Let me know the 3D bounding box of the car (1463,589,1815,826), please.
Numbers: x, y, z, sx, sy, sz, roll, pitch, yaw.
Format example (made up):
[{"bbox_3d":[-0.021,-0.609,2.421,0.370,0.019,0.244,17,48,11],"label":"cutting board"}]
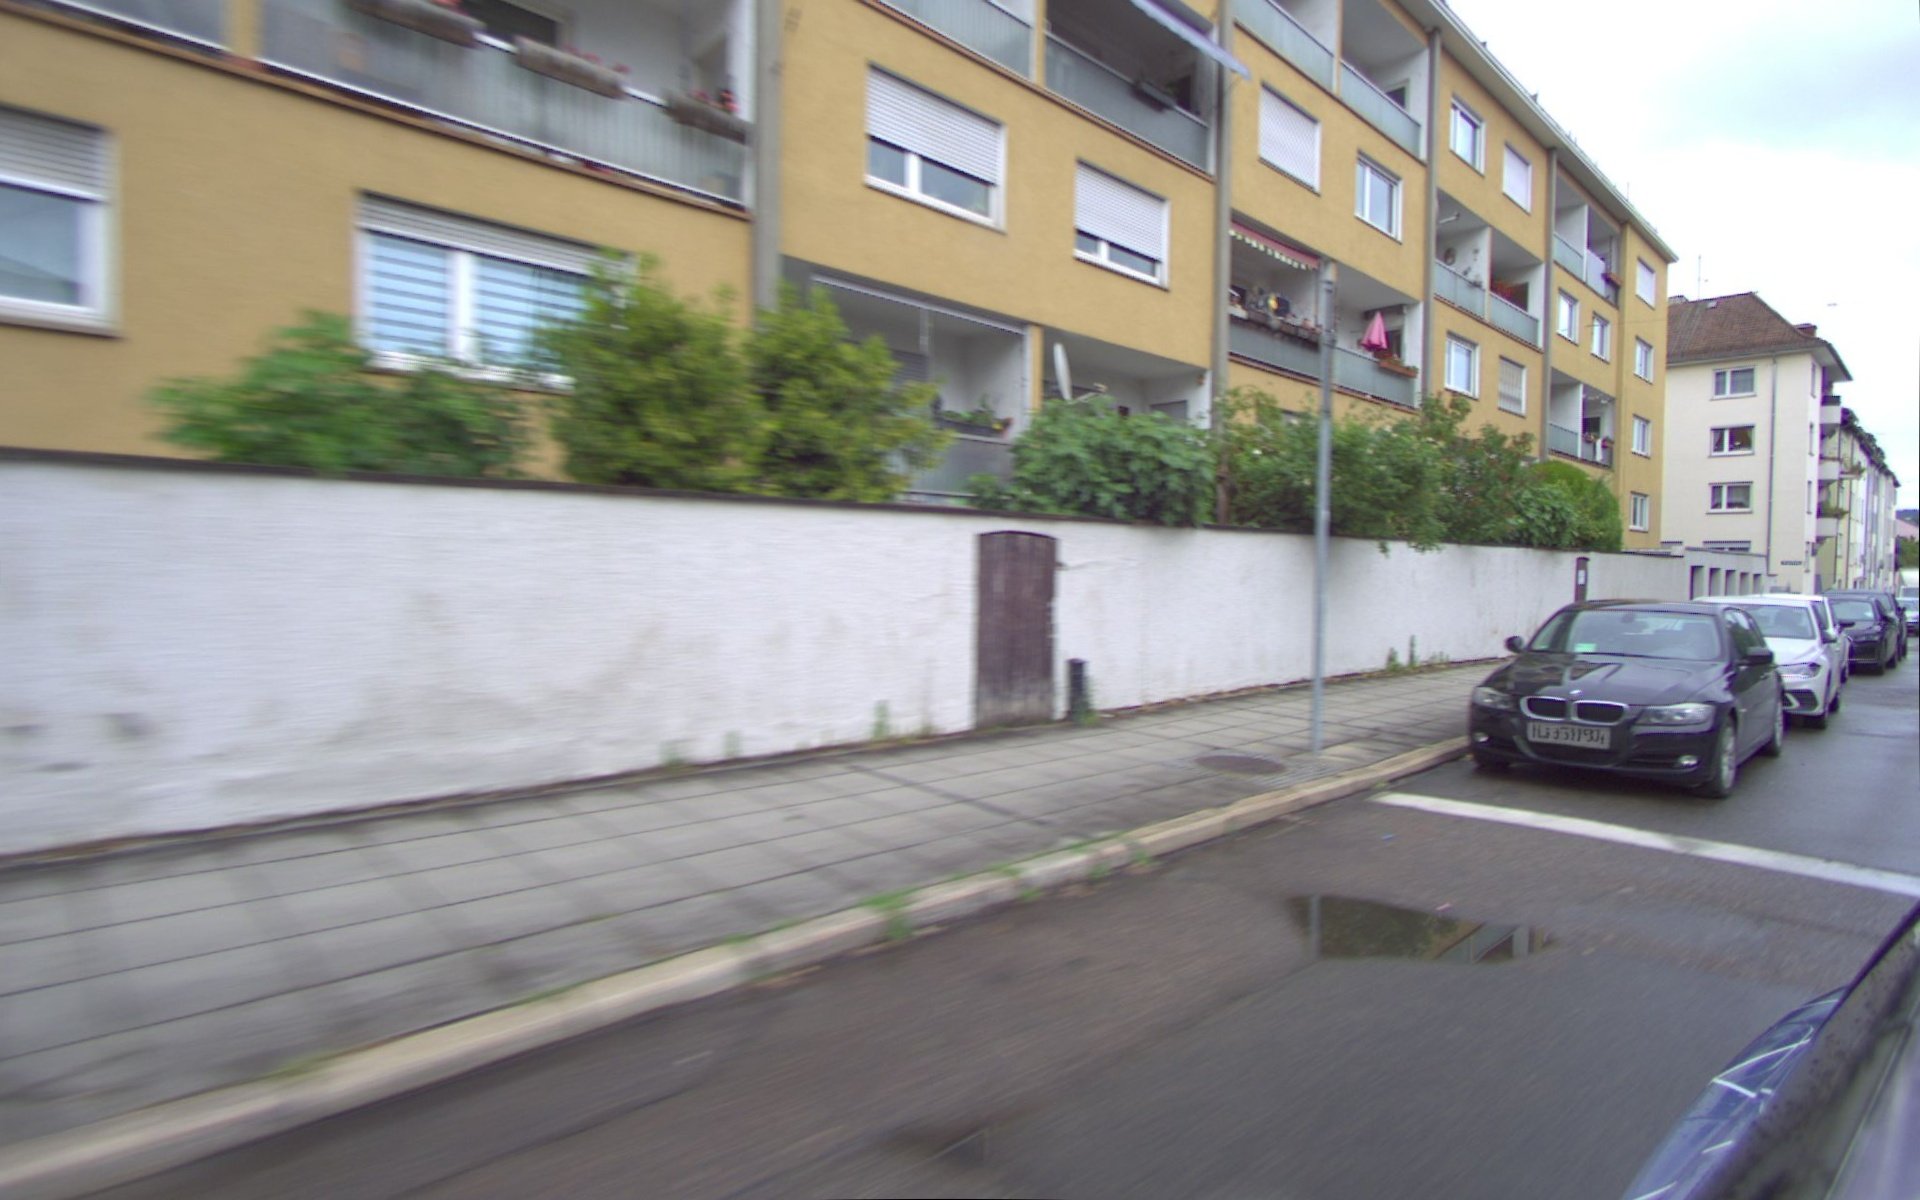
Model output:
[{"bbox_3d":[6.098,0.684,8.848,4.406,1.478,1.731,-2,2,-45],"label":"car"}]

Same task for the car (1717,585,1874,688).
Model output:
[{"bbox_3d":[13.957,0.510,16.840,3.496,1.471,1.687,-2,2,-45],"label":"car"}]

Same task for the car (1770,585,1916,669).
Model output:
[{"bbox_3d":[17.789,0.455,20.323,4.379,1.444,1.912,-2,2,-45],"label":"car"}]

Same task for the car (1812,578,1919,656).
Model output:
[{"bbox_3d":[21.973,0.326,24.393,4.502,1.667,1.802,-2,2,-45],"label":"car"}]

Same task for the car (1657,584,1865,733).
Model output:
[{"bbox_3d":[9.976,0.574,12.494,1.647,1.478,4.038,1,2,44],"label":"car"}]

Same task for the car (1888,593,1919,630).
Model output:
[{"bbox_3d":[40.099,0.463,42.313,3.907,1.395,1.737,-2,2,-45],"label":"car"}]

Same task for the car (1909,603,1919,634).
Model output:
[{"bbox_3d":[48.884,0.923,50.762,3.448,1.449,1.737,-1,2,-45],"label":"car"}]

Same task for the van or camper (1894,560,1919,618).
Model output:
[{"bbox_3d":[54.204,-0.661,56.345,6.914,3.096,2.750,-2,2,-43],"label":"van or camper"}]

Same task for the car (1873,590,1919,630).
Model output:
[{"bbox_3d":[36.174,0.342,38.639,3.777,1.395,1.737,-2,2,-45],"label":"car"}]
